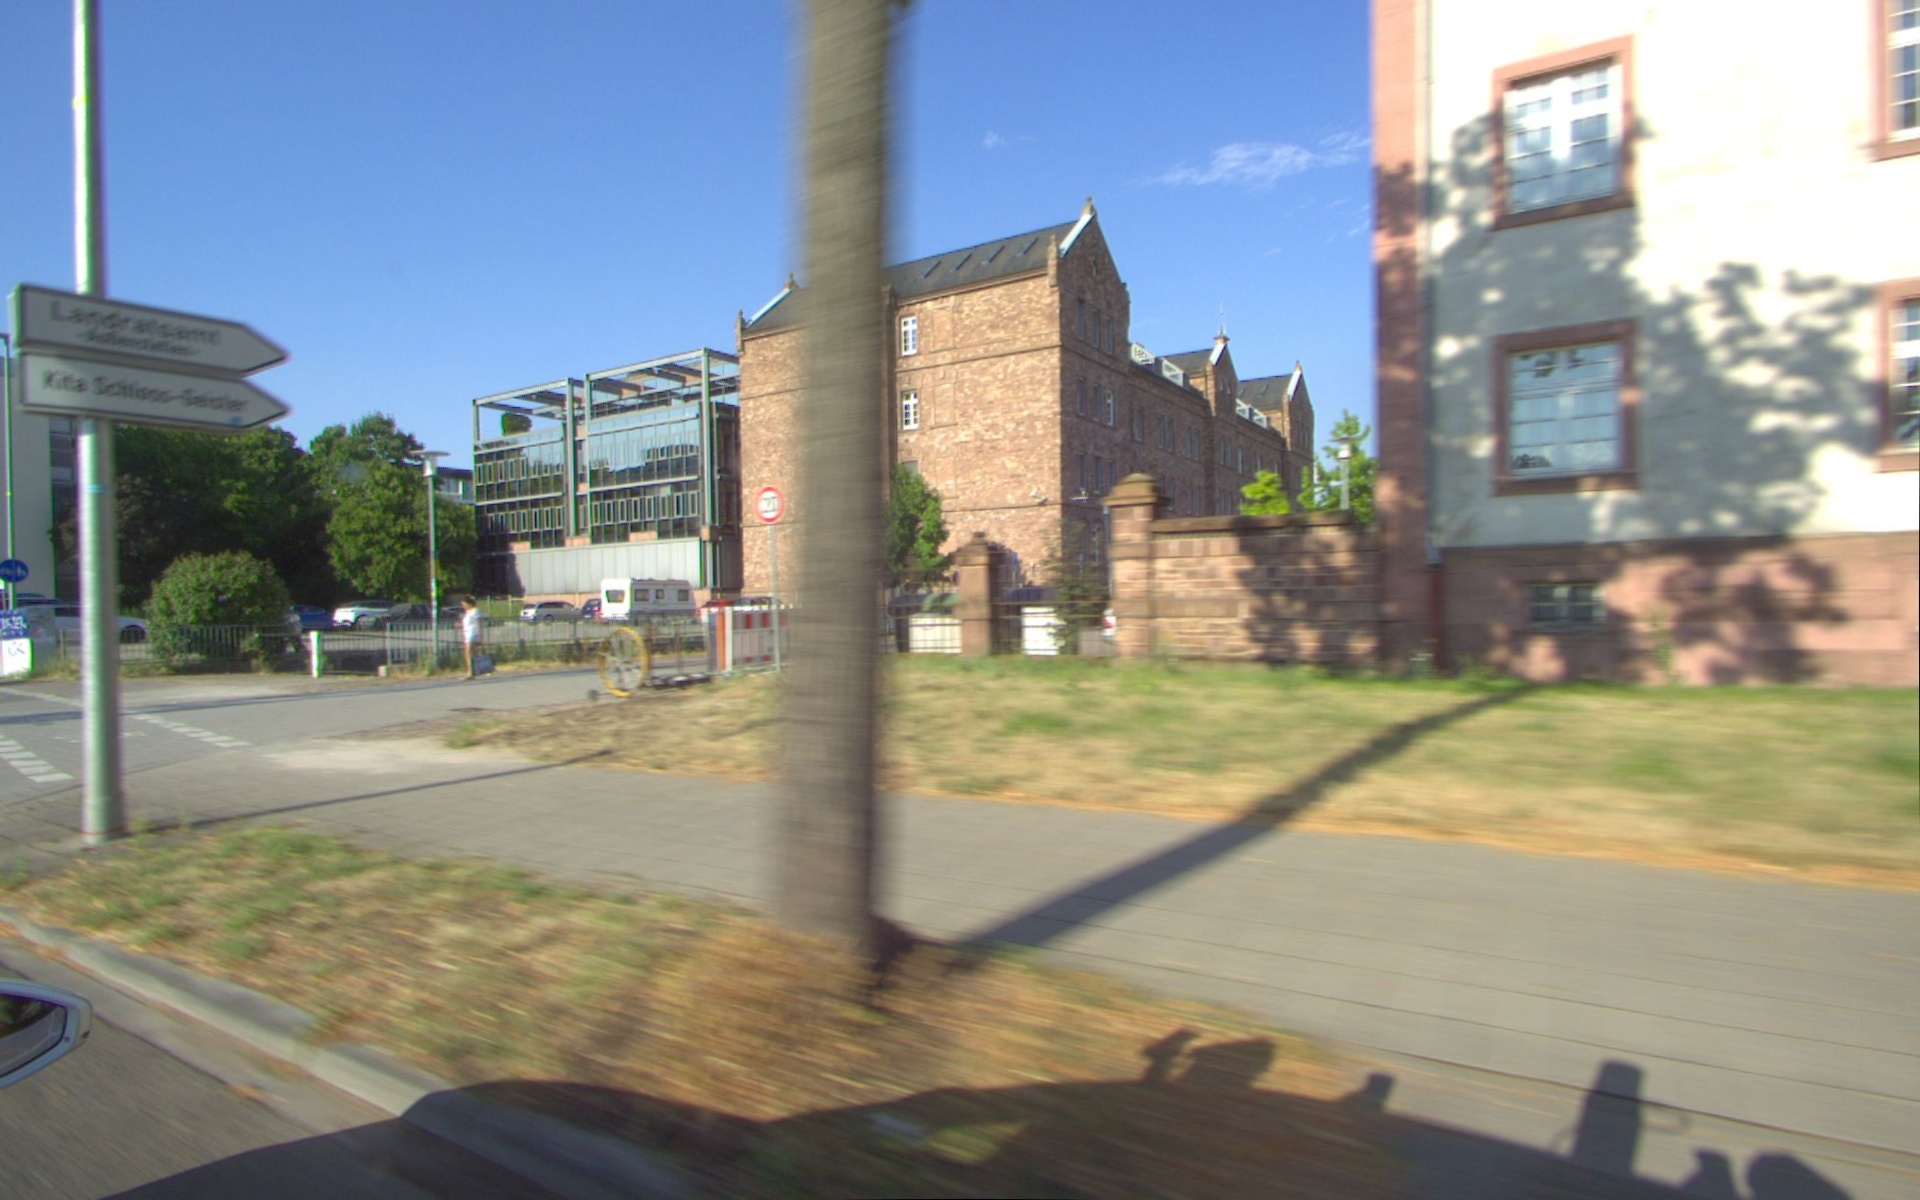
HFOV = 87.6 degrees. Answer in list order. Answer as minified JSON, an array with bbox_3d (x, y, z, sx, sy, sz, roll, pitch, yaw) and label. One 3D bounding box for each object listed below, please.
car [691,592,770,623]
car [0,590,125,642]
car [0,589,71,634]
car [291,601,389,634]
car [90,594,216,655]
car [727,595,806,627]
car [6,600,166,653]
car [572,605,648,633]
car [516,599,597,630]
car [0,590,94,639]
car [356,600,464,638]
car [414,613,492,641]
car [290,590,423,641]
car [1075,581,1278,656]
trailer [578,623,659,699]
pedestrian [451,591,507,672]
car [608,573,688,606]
[{"bbox_3d":[-12.086,0.428,53.042,1.804,1.522,4.067,-2,-3,30],"label":"car"},{"bbox_3d":[-34.151,0.629,37.510,1.970,1.816,3.985,-2,-3,28],"label":"car"},{"bbox_3d":[-40.161,0.484,41.918,1.970,1.816,3.985,-2,-3,28],"label":"car"},{"bbox_3d":[-34.514,1.007,55.850,1.970,1.747,4.272,-2,-3,28],"label":"car"},{"bbox_3d":[-24.276,0.774,30.099,3.941,1.683,1.651,-2,-2,30],"label":"car"},{"bbox_3d":[-9.940,0.611,51.704,1.804,1.522,4.067,-2,-3,30],"label":"car"},{"bbox_3d":[-31.832,1.002,36.605,1.970,1.816,3.985,-2,-3,28],"label":"car"},{"bbox_3d":[-20.460,1.143,58.644,1.803,1.522,4.070,-2,-3,28],"label":"car"},{"bbox_3d":[-24.356,0.938,60.564,1.970,1.747,4.272,-2,-3,28],"label":"car"},{"bbox_3d":[-36.572,0.576,38.947,1.970,1.816,3.984,-2,-3,29],"label":"car"},{"bbox_3d":[-26.867,0.991,49.076,1.970,1.747,4.272,-2,-3,28],"label":"car"},{"bbox_3d":[-33.433,1.782,66.201,1.970,1.747,4.272,-2,-3,28],"label":"car"},{"bbox_3d":[-23.210,0.659,38.656,1.970,1.816,3.985,-2,-3,28],"label":"car"},{"bbox_3d":[4.656,0.447,21.646,3.941,1.471,1.789,-2,-3,30],"label":"car"},{"bbox_3d":[-5.077,0.896,14.857,1.250,1.080,0.481,-2,-2,34],"label":"trailer"},{"bbox_3d":[-9.837,0.652,20.485,0.777,1.631,0.713,-2,-2,27],"label":"pedestrian"},{"bbox_3d":[-16.810,-0.531,54.102,1.803,1.522,4.070,-2,-3,28],"label":"car"}]
